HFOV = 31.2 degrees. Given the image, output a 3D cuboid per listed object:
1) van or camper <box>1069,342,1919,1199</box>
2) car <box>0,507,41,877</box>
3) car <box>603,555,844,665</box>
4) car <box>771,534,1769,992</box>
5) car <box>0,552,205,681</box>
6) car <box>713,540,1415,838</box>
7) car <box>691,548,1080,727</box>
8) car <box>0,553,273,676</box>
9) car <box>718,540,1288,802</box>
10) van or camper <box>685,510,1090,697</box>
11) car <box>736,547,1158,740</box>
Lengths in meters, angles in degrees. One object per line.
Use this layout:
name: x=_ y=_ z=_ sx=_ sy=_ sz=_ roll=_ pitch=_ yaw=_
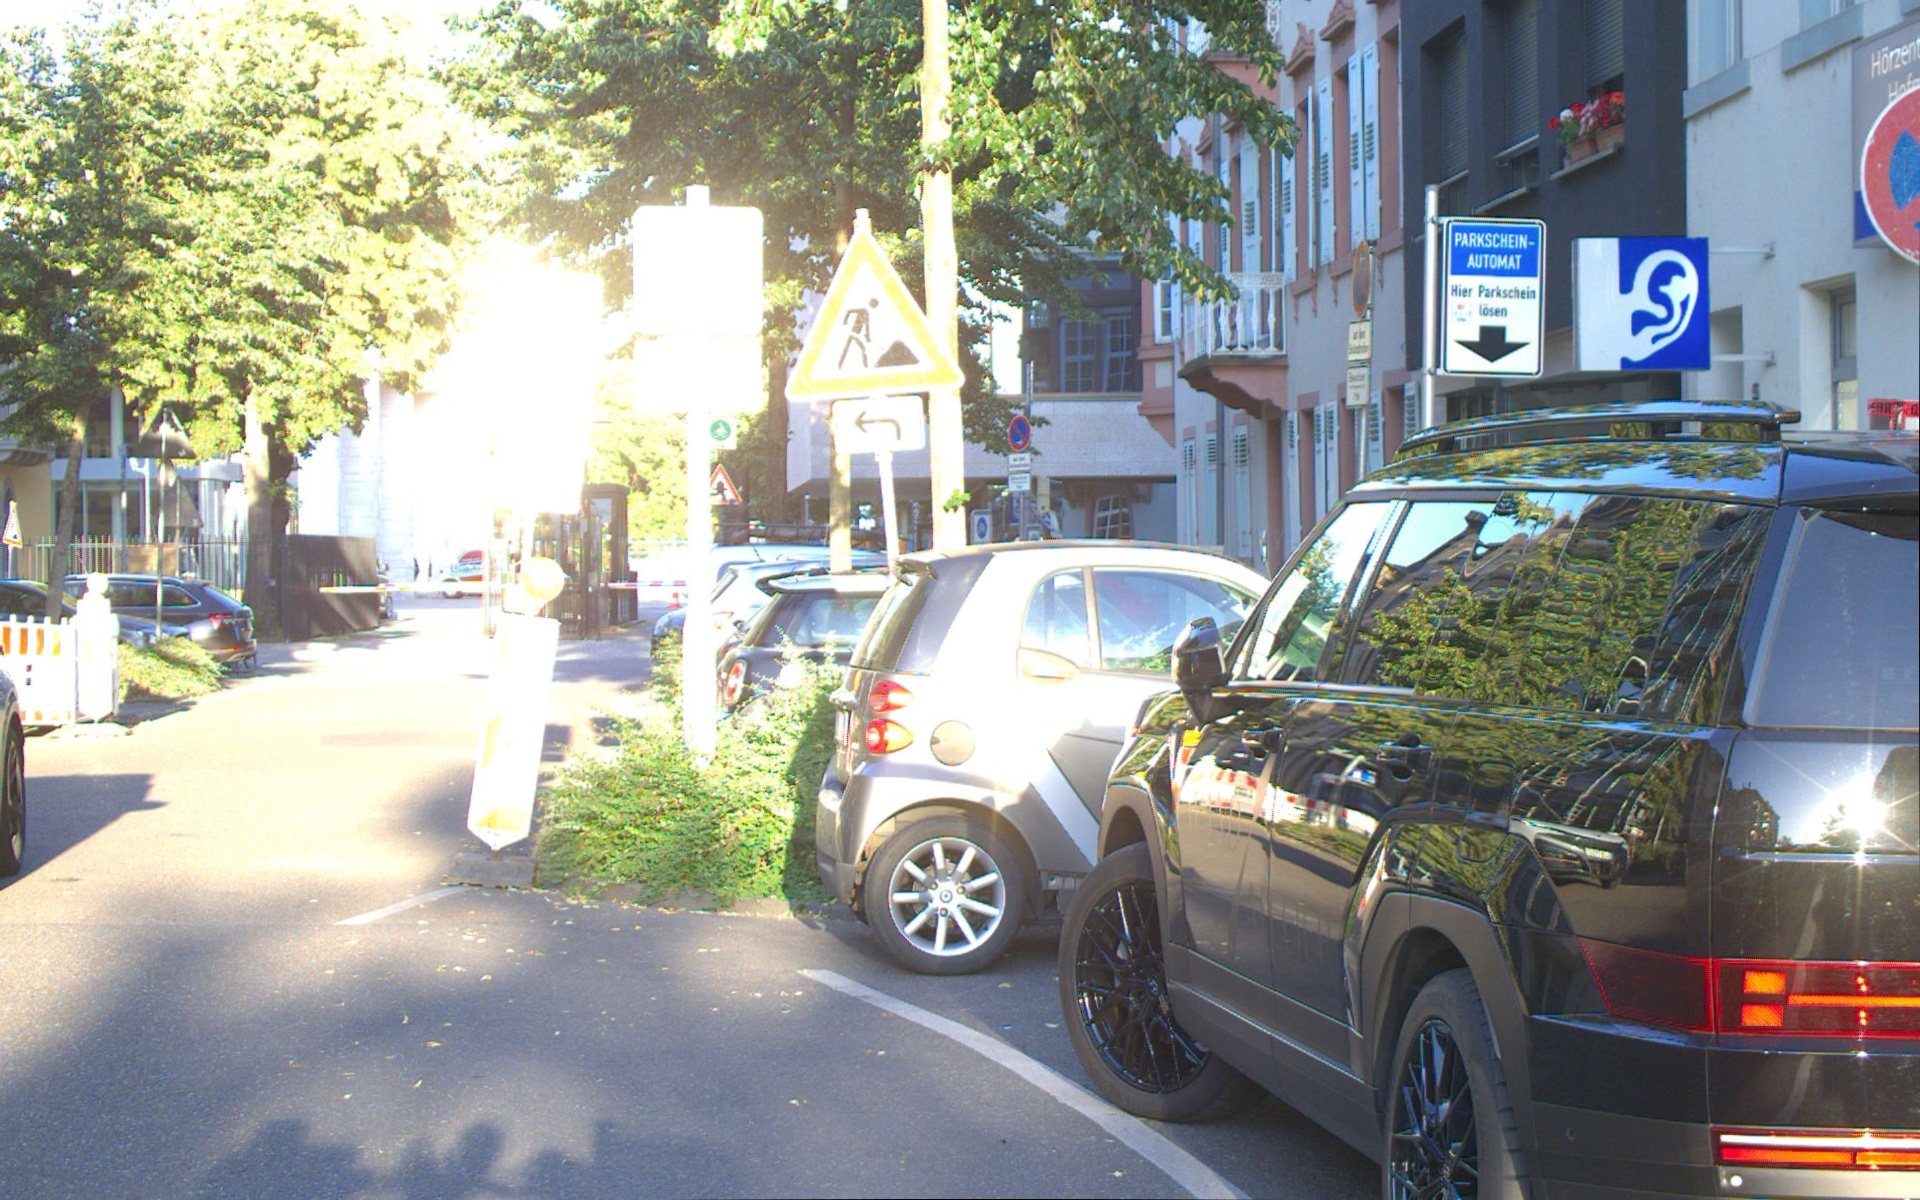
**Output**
van or camper: x=1.565 y=0.497 z=7.302 sx=1.889 sy=1.801 sz=4.462 roll=0 pitch=1 yaw=-9
car: x=-5.232 y=0.458 z=14.893 sx=1.872 sy=1.692 sz=4.322 roll=-3 pitch=1 yaw=-8
car: x=-3.513 y=0.129 z=51.716 sx=1.855 sy=1.563 sz=3.691 roll=1 pitch=1 yaw=30
car: x=1.119 y=0.550 z=13.024 sx=3.469 sy=1.570 sz=1.508 roll=-1 pitch=1 yaw=-12
car: x=-12.236 y=0.206 z=45.727 sx=3.987 sy=1.678 sz=1.891 roll=0 pitch=1 yaw=-1
car: x=0.548 y=0.507 z=20.644 sx=3.994 sy=1.664 sz=1.859 roll=1 pitch=1 yaw=-5
car: x=-0.777 y=0.351 z=33.790 sx=3.684 sy=1.664 sz=1.859 roll=1 pitch=1 yaw=-5
car: x=-11.858 y=0.188 z=48.427 sx=3.987 sy=1.678 sz=1.891 roll=0 pitch=1 yaw=-1
car: x=0.226 y=0.459 z=23.403 sx=3.684 sy=1.664 sz=1.859 roll=1 pitch=1 yaw=-5
van or camper: x=-0.865 y=0.030 z=38.884 sx=4.439 sy=1.999 sz=1.859 roll=1 pitch=1 yaw=-5
car: x=-0.169 y=0.378 z=31.411 sx=3.684 sy=1.664 sz=1.859 roll=1 pitch=1 yaw=-5
